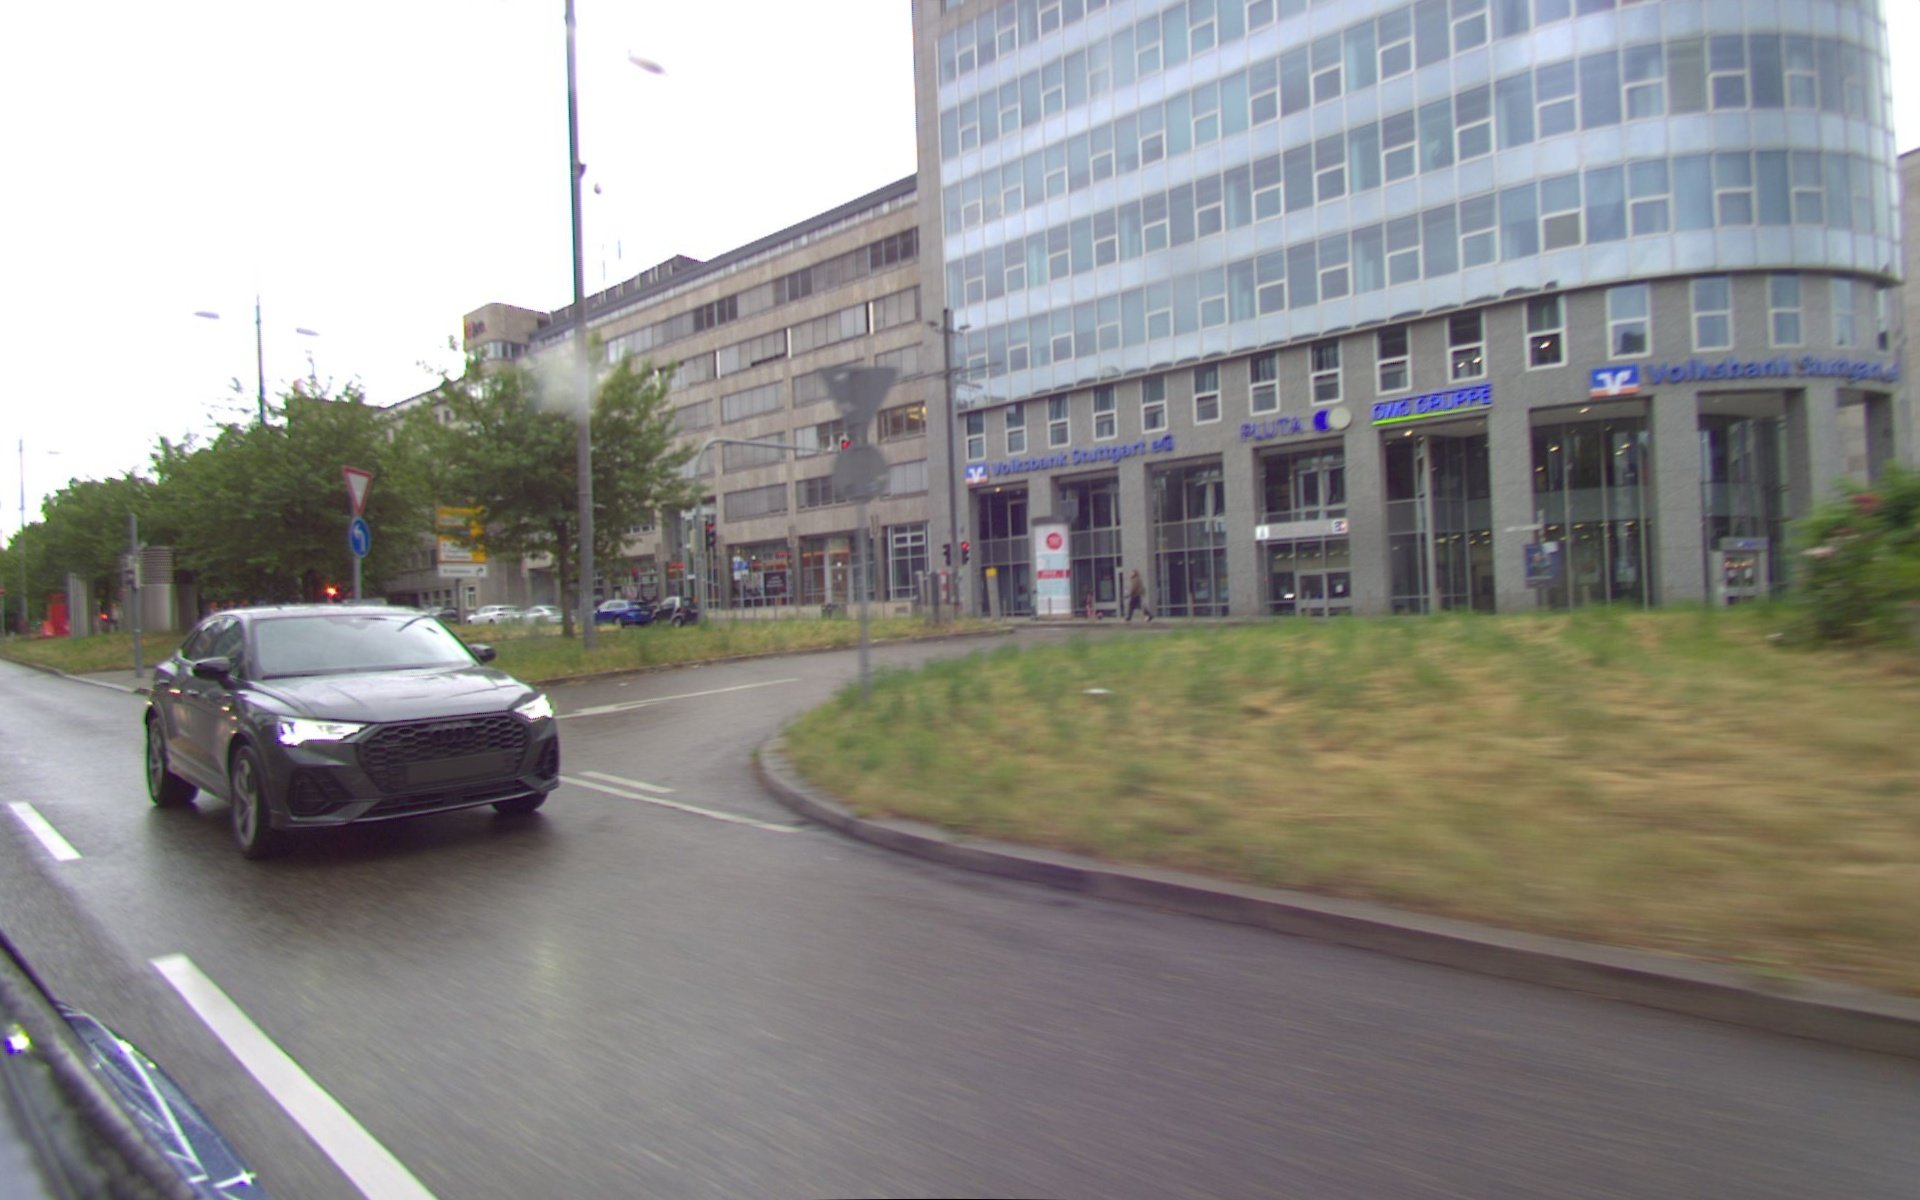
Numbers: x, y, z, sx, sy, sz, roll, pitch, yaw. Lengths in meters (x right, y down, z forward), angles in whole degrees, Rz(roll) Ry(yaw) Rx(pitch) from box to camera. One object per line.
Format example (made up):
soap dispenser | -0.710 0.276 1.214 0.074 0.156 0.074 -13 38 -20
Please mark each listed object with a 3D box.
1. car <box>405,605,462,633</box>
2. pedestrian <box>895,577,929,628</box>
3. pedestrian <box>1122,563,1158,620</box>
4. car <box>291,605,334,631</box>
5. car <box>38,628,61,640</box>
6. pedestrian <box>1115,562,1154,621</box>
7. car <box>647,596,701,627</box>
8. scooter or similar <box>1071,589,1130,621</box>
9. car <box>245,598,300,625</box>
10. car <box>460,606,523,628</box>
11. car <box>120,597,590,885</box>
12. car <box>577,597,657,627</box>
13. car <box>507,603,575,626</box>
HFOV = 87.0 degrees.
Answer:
car | -33.251 1.213 63.892 4.101 1.592 1.556 -2 2 37
pedestrian | -1.830 0.093 38.790 0.928 1.895 0.950 -1 0 29
pedestrian | 6.477 -0.305 36.386 1.031 2.029 0.844 -1 0 29
car | -37.962 1.041 59.314 2.626 1.395 1.393 -2 2 41
car | -135.195 4.994 150.233 4.106 1.599 2.046 -2 2 42
pedestrian | 6.117 -0.302 35.471 1.031 2.029 1.045 -1 0 29
car | -13.696 0.559 48.474 2.626 1.395 1.227 -2 2 41
scooter or similar | 5.566 0.194 40.140 2.243 1.222 0.765 -1 0 38
car | -43.300 0.735 63.743 4.106 1.592 1.856 -2 2 42
car | -27.278 0.971 58.844 4.101 1.130 1.556 -2 2 37
car | -4.744 0.805 7.631 4.344 1.529 1.841 -2 0 42
car | -17.460 0.626 51.461 4.314 1.395 1.660 -2 2 37
car | -22.919 0.796 55.292 4.101 1.130 1.556 -2 2 37
